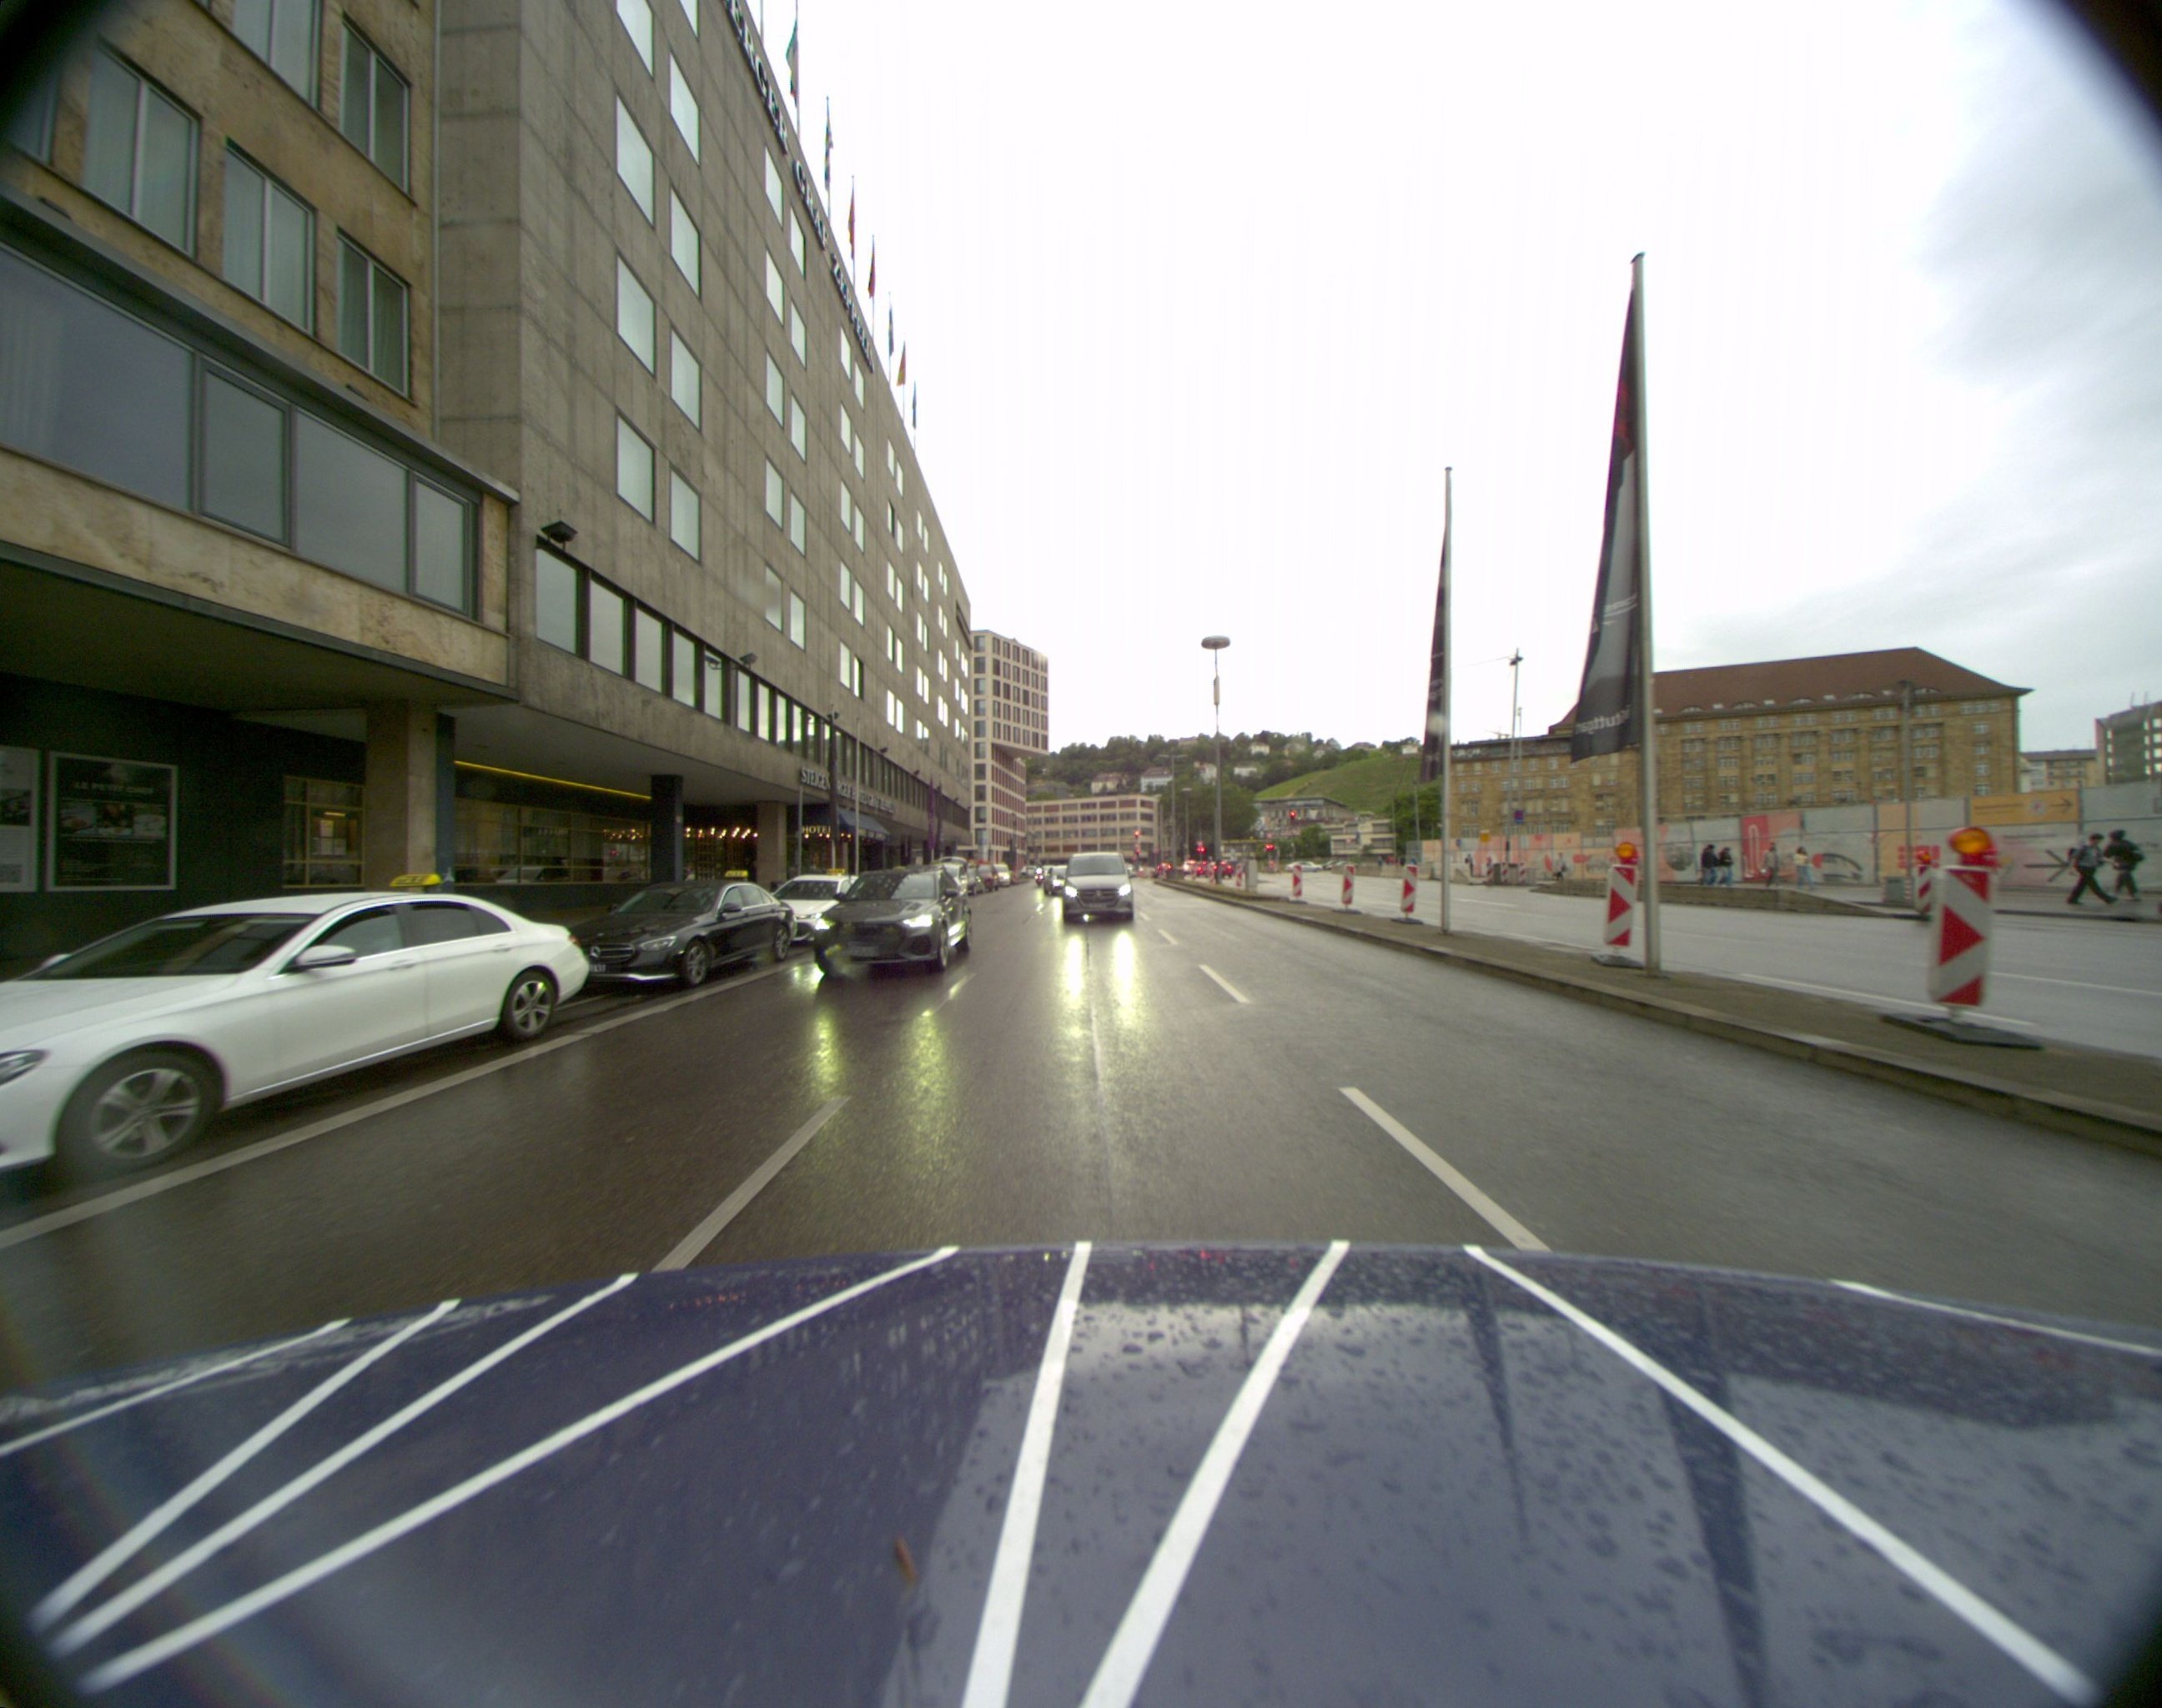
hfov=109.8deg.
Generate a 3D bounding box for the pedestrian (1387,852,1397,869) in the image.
[{"bbox_3d":[29.916,0.600,73.182,0.715,1.606,0.544,-2,1,1],"label":"pedestrian"}]

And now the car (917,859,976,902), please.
[{"bbox_3d":[-6.060,1.141,34.789,1.731,1.732,4.814,-2,0,0],"label":"car"}]

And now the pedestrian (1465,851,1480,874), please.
[{"bbox_3d":[27.455,0.593,53.275,0.715,1.606,0.544,-2,1,1],"label":"pedestrian"}]

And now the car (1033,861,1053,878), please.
[{"bbox_3d":[-3.712,1.508,74.441,1.869,1.461,3.999,-2,0,-2],"label":"car"}]

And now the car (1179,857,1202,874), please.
[{"bbox_3d":[11.950,1.224,82.967,1.785,1.684,3.916,-2,0,-1],"label":"car"}]

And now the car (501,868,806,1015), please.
[{"bbox_3d":[-6.091,1.119,11.688,1.879,1.627,4.814,-2,0,0],"label":"car"}]

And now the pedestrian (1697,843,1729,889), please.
[{"bbox_3d":[24.127,0.455,29.022,0.714,1.723,0.718,-2,1,19],"label":"pedestrian"}]

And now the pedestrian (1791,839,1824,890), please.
[{"bbox_3d":[26.357,0.369,27.563,0.661,1.825,0.556,-2,1,21],"label":"pedestrian"}]

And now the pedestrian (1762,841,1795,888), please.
[{"bbox_3d":[25.775,0.383,28.089,0.714,1.734,0.564,-2,1,21],"label":"pedestrian"}]

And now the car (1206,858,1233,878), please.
[{"bbox_3d":[12.517,1.226,68.896,1.785,1.684,3.916,-1,0,0],"label":"car"}]

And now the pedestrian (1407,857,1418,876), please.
[{"bbox_3d":[28.733,1.047,65.833,0.715,1.606,0.544,-2,1,1],"label":"pedestrian"}]

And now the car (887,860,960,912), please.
[{"bbox_3d":[-6.032,1.155,29.592,1.731,1.732,4.814,-2,0,0],"label":"car"}]

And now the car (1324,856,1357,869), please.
[{"bbox_3d":[33.929,1.051,99.447,3.993,1.622,2.002,-1,0,14],"label":"car"}]

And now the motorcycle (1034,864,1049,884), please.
[{"bbox_3d":[-2.747,1.419,53.378,0.848,1.299,1.965,-2,0,1],"label":"motorcycle"}]

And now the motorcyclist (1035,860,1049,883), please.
[{"bbox_3d":[-2.744,1.213,53.337,0.861,1.519,0.844,-2,1,1],"label":"motorcyclist"}]

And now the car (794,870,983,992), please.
[{"bbox_3d":[-2.925,1.106,12.608,1.883,1.493,4.342,-2,0,1],"label":"car"}]

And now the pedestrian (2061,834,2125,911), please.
[{"bbox_3d":[24.738,0.447,18.590,0.587,1.825,0.717,-2,1,1],"label":"pedestrian"}]

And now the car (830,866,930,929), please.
[{"bbox_3d":[-6.037,1.248,23.419,1.731,1.583,4.814,-2,0,0],"label":"car"}]

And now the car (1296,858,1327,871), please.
[{"bbox_3d":[34.616,1.550,114.217,4.194,1.846,1.832,-2,0,6],"label":"car"}]

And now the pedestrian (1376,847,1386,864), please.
[{"bbox_3d":[28.933,0.180,73.289,0.715,1.606,0.544,-2,1,1],"label":"pedestrian"}]

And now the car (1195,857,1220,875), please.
[{"bbox_3d":[12.672,1.217,76.424,1.785,1.684,3.916,-2,0,-1],"label":"car"}]

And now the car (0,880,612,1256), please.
[{"bbox_3d":[-6.118,1.137,5.792,1.879,1.627,5.011,-2,0,0],"label":"car"}]

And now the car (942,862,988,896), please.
[{"bbox_3d":[-6.085,1.277,40.296,1.731,1.604,4.001,-2,0,0],"label":"car"}]

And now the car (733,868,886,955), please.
[{"bbox_3d":[-6.045,1.188,17.605,1.731,1.583,4.814,-2,0,0],"label":"car"}]

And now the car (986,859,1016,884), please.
[{"bbox_3d":[-5.834,1.256,55.796,1.731,1.604,4.001,-2,0,0],"label":"car"}]

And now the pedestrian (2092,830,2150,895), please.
[{"bbox_3d":[26.420,0.210,19.308,0.715,1.606,0.544,-2,1,1],"label":"pedestrian"}]

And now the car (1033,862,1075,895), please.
[{"bbox_3d":[-1.302,1.176,38.103,1.898,1.477,4.000,-2,0,0],"label":"car"}]

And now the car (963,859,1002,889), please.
[{"bbox_3d":[-5.822,1.153,45.476,1.731,1.604,4.001,-2,0,0],"label":"car"}]

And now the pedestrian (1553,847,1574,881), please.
[{"bbox_3d":[26.511,0.560,41.780,0.664,1.825,0.720,-2,1,1],"label":"pedestrian"}]

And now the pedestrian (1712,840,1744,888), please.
[{"bbox_3d":[25.053,0.394,29.439,0.714,1.825,0.718,-2,1,19],"label":"pedestrian"}]

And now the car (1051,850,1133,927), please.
[{"bbox_3d":[0.319,0.861,21.530,1.998,1.849,5.160,-2,0,1],"label":"car"}]
